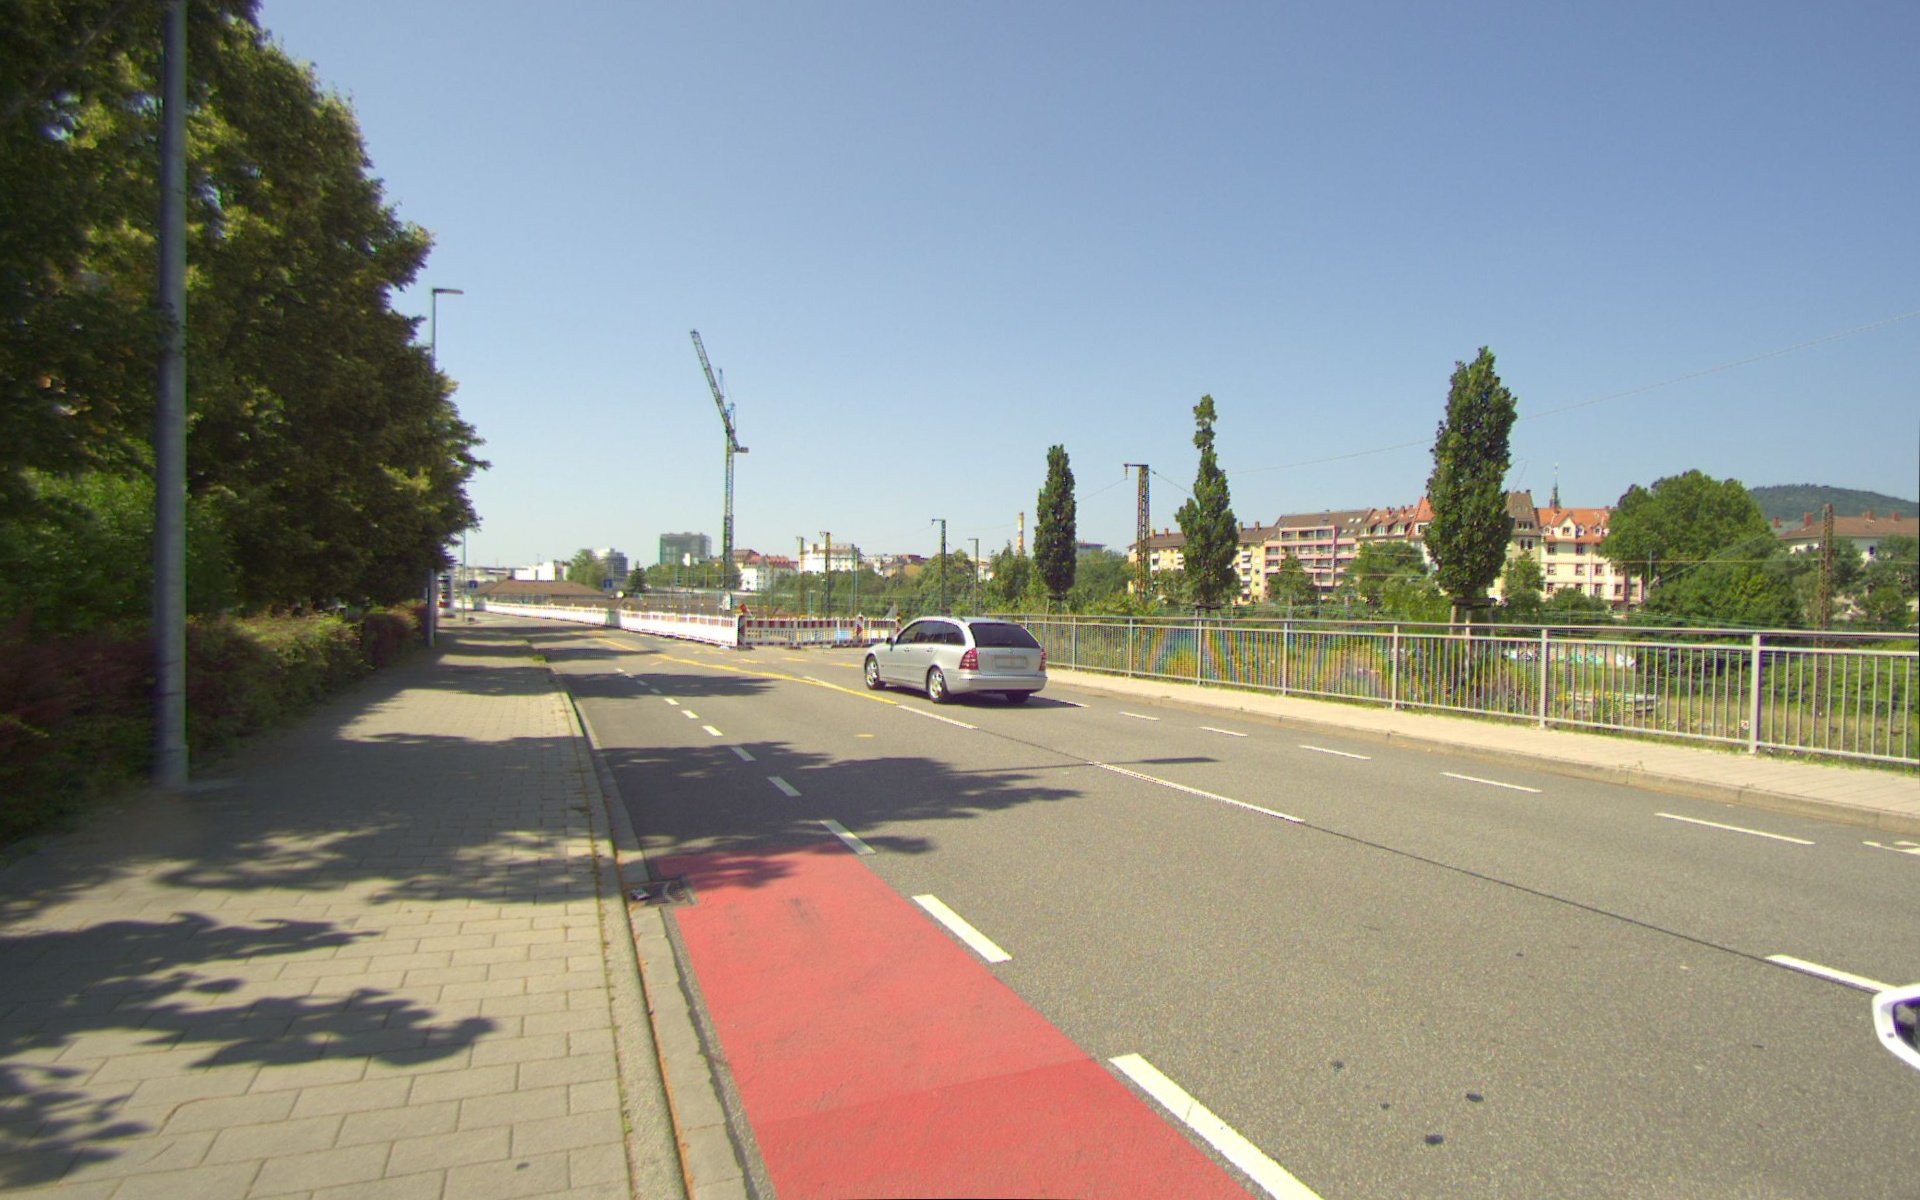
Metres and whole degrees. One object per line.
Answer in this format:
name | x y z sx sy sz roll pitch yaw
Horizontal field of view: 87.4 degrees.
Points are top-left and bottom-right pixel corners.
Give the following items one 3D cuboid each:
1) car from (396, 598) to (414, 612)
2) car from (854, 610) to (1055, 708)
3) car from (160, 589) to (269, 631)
car | -64.210 0.534 116.185 1.853 1.518 3.999 0 1 -29
car | -0.247 0.934 17.380 1.692 1.422 4.356 2 -1 -27
car | -39.556 0.509 53.343 4.433 1.946 1.893 -2 2 6
